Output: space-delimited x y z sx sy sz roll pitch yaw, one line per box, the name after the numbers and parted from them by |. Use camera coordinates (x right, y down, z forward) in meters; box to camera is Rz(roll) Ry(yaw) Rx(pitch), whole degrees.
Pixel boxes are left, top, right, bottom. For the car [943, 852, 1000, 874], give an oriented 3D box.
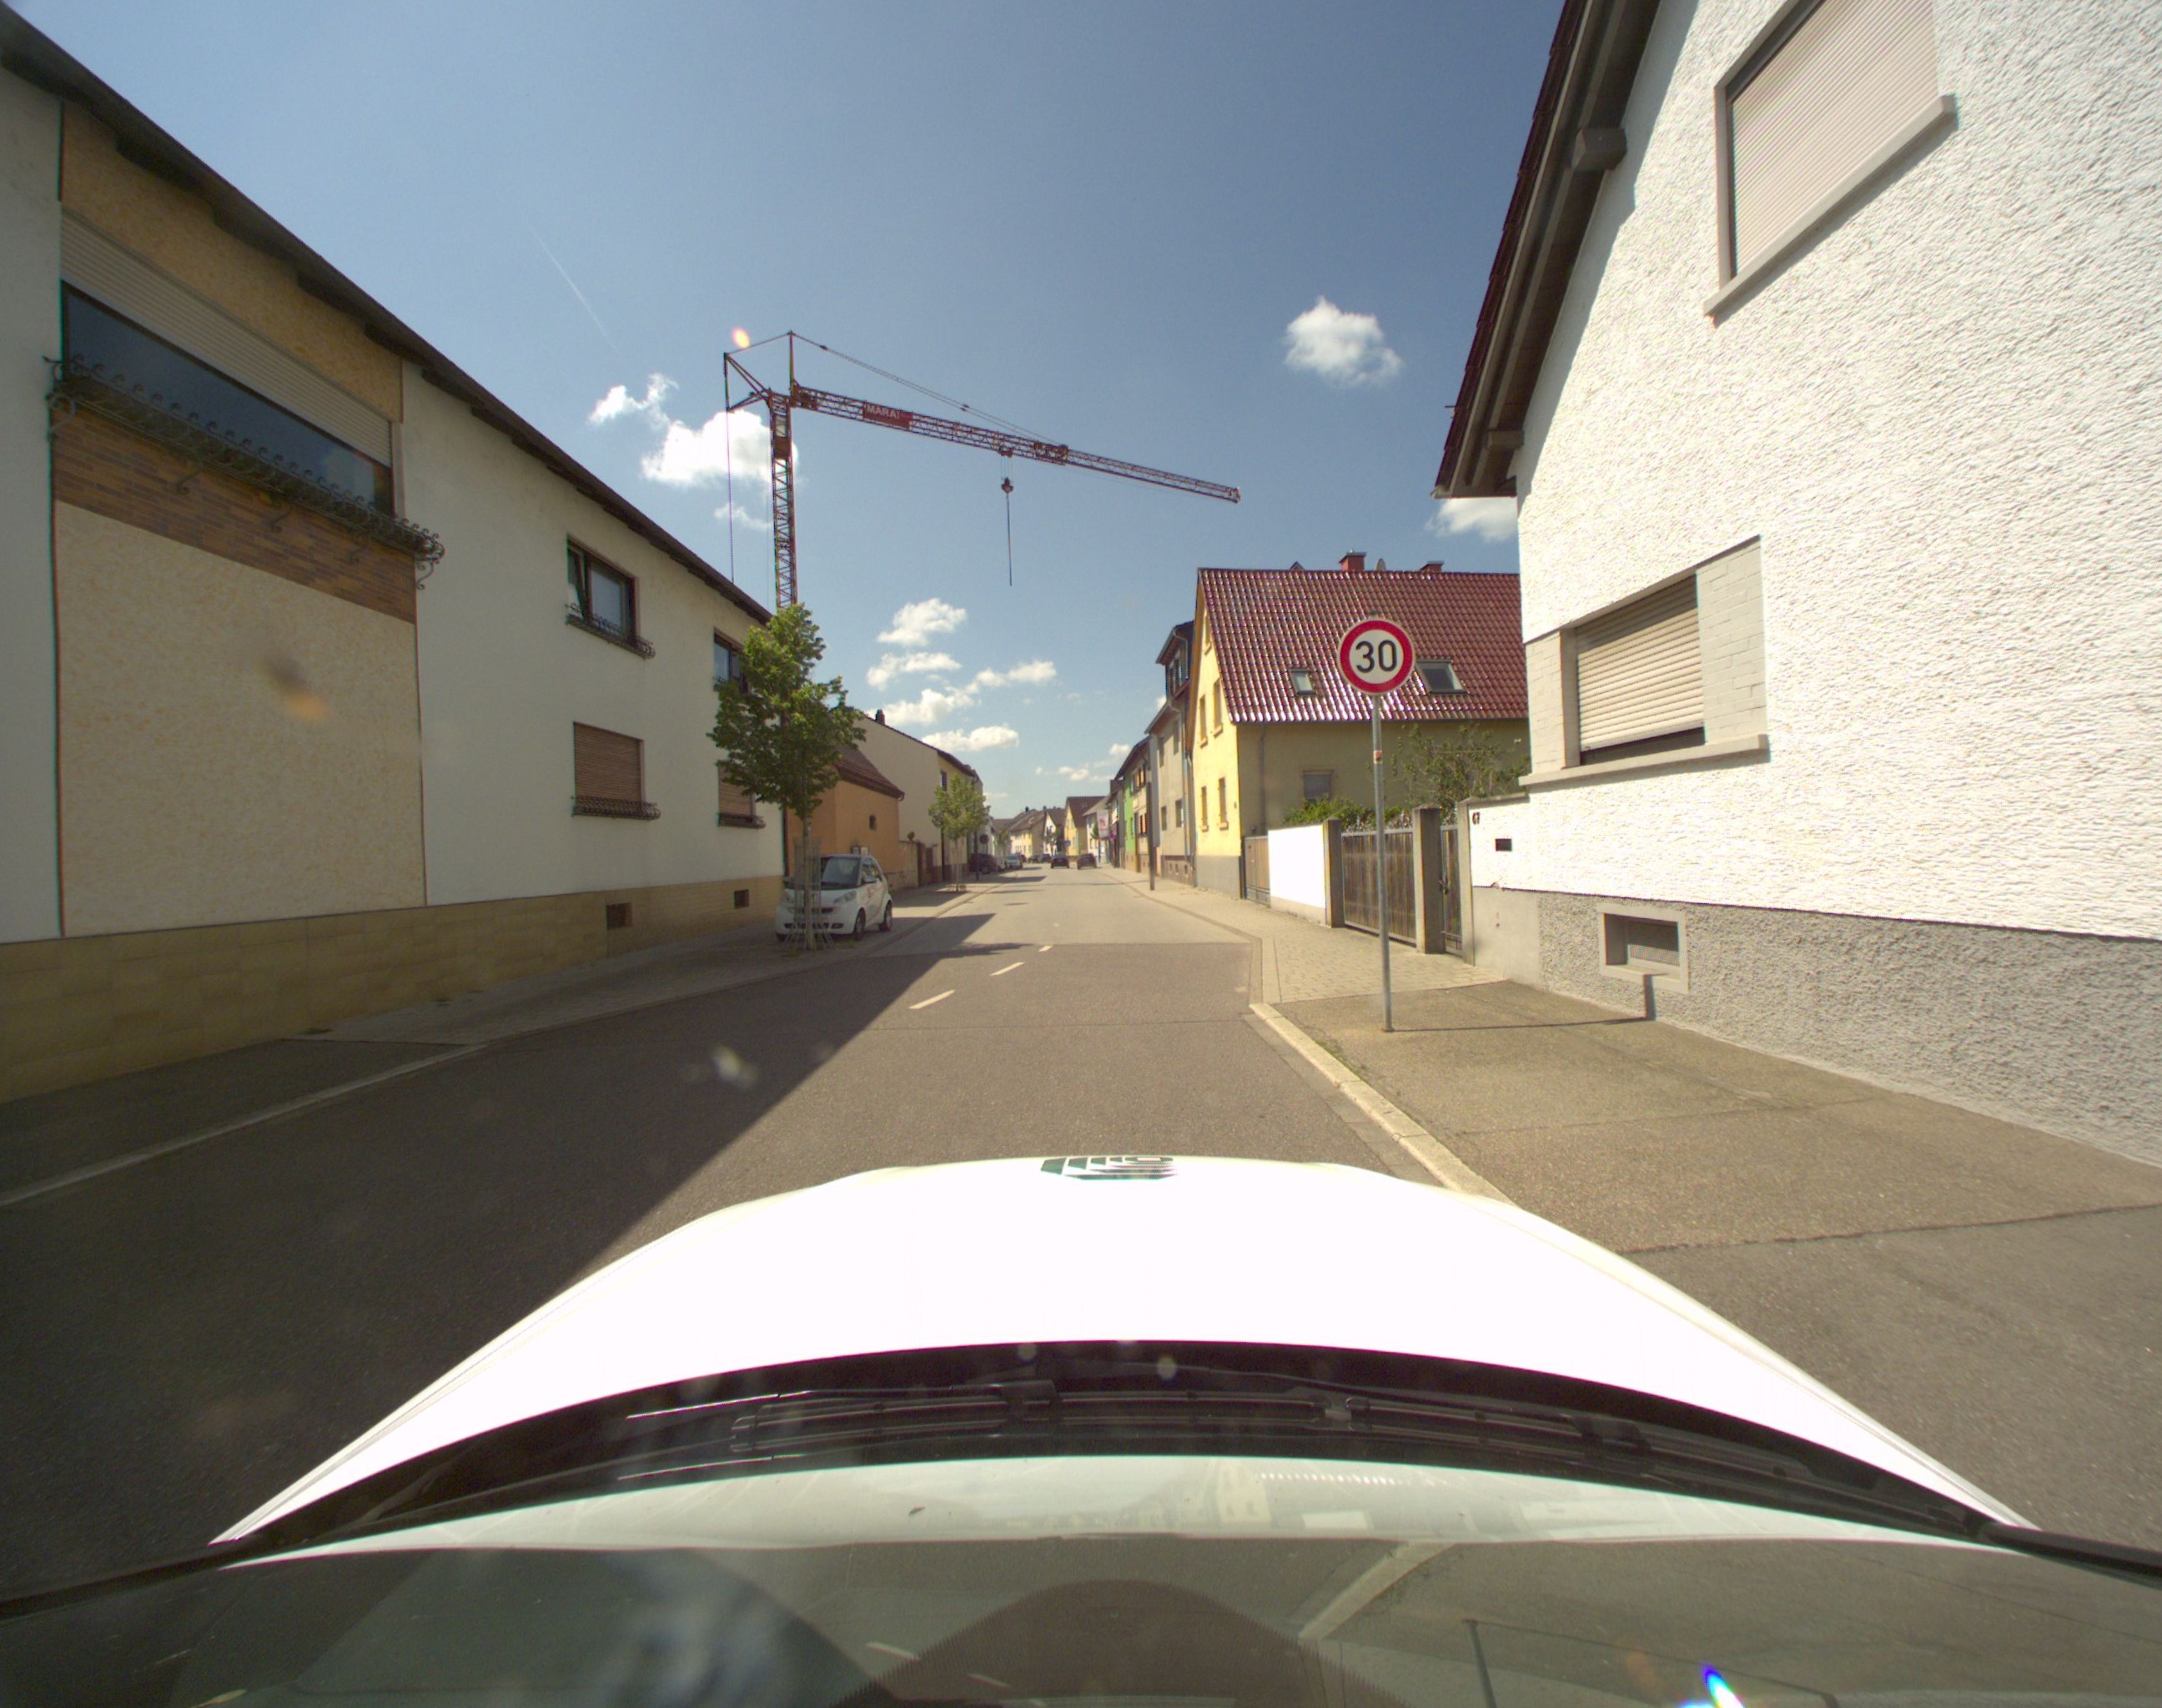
-8.534 0.698 63.563 4.208 1.658 1.783 0 0 -2 | car

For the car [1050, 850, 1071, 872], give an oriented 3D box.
-2.049 0.652 81.058 1.988 2.057 4.371 -2 0 -2 | car

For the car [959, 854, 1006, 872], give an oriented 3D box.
-8.587 0.779 71.224 3.888 1.502 1.751 0 0 0 | car

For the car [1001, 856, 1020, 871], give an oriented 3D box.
-7.306 0.963 84.832 1.752 1.411 3.876 0 0 -1 | car

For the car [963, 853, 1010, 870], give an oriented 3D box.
-8.547 0.664 73.876 3.976 1.441 1.690 1 0 -2 | car

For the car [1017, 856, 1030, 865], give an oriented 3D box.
-10.806 1.261 153.245 1.879 1.591 3.982 -3 0 -13 | car

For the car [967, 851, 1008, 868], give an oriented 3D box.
-8.758 0.514 76.765 3.681 1.525 1.672 0 0 -1 | car

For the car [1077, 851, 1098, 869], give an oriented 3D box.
0.637 0.515 75.997 1.852 1.459 4.586 -4 0 1 | car

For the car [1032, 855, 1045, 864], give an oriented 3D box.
-7.336 0.937 140.015 1.712 1.387 3.689 -3 0 -13 | car

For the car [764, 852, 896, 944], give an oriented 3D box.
-4.627 0.755 15.382 1.567 1.561 2.822 0 0 0 | car

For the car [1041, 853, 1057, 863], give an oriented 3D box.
-5.206 0.594 132.365 1.848 1.562 3.677 -3 0 -13 | car
